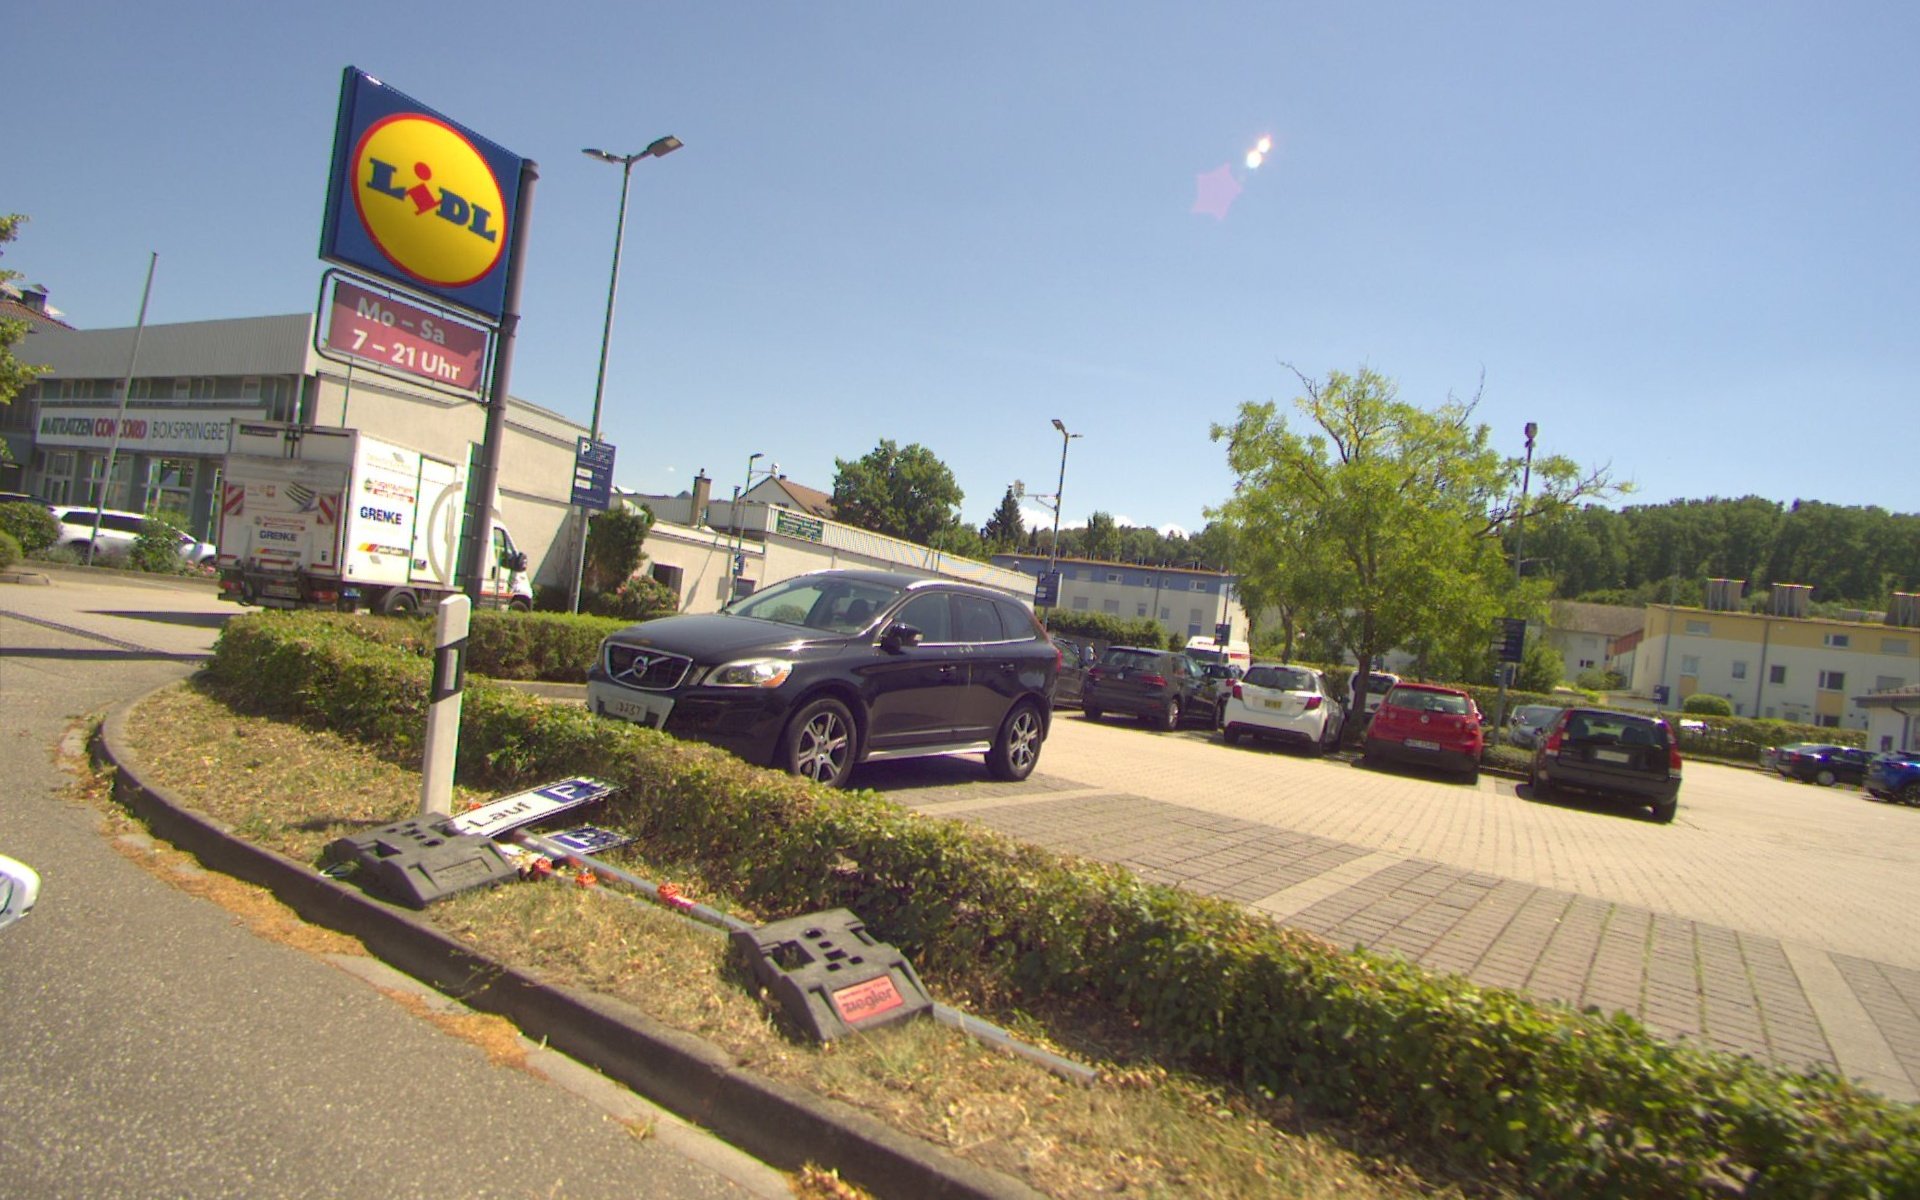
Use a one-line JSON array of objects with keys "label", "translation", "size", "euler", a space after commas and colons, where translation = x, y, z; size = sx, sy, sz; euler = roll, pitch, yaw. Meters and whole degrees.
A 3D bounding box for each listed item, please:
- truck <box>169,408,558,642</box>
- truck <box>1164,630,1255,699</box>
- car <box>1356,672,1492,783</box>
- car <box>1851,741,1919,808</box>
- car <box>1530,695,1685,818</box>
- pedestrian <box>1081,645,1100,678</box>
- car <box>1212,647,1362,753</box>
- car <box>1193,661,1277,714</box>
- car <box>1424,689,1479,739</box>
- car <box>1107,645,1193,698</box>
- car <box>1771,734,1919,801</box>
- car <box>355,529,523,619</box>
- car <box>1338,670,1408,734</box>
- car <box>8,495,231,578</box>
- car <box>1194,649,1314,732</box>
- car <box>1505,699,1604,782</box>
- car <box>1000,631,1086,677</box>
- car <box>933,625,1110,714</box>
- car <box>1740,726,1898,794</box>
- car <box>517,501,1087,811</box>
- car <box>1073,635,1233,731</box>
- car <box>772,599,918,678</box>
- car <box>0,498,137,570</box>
[{"label": "truck", "translation": [-9.594, -0.946, 17.112], "size": [2.377, 2.982, 5.960], "euler": [7, -2, 5]}, {"label": "truck", "translation": [10.869, 2.853, 43.489], "size": [2.143, 2.486, 5.480], "euler": [6, -2, 31]}, {"label": "car", "translation": [8.085, 2.147, 17.353], "size": [1.716, 1.474, 3.605], "euler": [7, -2, 30]}, {"label": "car", "translation": [27.573, 5.053, 27.751], "size": [3.929, 1.571, 1.999], "euler": [7, -1, 26]}, {"label": "car", "translation": [9.849, 2.317, 15.530], "size": [1.643, 1.433, 3.605], "euler": [7, -2, 30]}, {"label": "pedestrian", "translation": [7.271, 3.419, 55.890], "size": [0.668, 1.737, 0.706], "euler": [6, 0, 28]}, {"label": "car", "translation": [6.100, 1.832, 18.479], "size": [1.788, 1.521, 3.731], "euler": [7, -2, 30]}, {"label": "car", "translation": [9.876, 3.145, 35.942], "size": [1.721, 1.578, 3.756], "euler": [6, -1, 33]}, {"label": "car", "translation": [16.008, 3.660, 32.740], "size": [1.404, 1.337, 3.424], "euler": [6, -1, 27]}, {"label": "car", "translation": [7.135, 2.690, 37.549], "size": [1.625, 1.668, 3.866], "euler": [6, -1, 34]}, {"label": "car", "translation": [30.846, 5.780, 34.716], "size": [3.929, 1.592, 1.999], "euler": [6, -1, 26]}, {"label": "car", "translation": [-13.995, -0.696, 26.982], "size": [4.182, 1.913, 1.710], "euler": [6, -1, 26]}, {"label": "car", "translation": [14.068, 3.418, 34.146], "size": [1.745, 1.812, 3.997], "euler": [6, -1, 27]}, {"label": "car", "translation": [-20.950, -1.543, 25.191], "size": [1.780, 1.478, 3.982], "euler": [6, -1, 41]}, {"label": "car", "translation": [6.750, 2.065, 22.872], "size": [1.716, 1.521, 3.605], "euler": [7, -2, 30]}, {"label": "car", "translation": [12.647, 2.939, 21.506], "size": [1.557, 1.380, 3.208], "euler": [7, -1, 30]}, {"label": "car", "translation": [4.725, 3.089, 57.551], "size": [4.278, 2.038, 1.997], "euler": [6, -1, 30]}, {"label": "car", "translation": [1.370, 1.417, 20.279], "size": [1.868, 1.407, 4.253], "euler": [6, -2, 28]}, {"label": "car", "translation": [31.656, 5.863, 37.238], "size": [3.930, 1.704, 1.998], "euler": [7, -1, 27]}, {"label": "car", "translation": [-0.879, 0.473, 8.106], "size": [1.863, 1.687, 4.520], "euler": [7, -1, 33]}, {"label": "car", "translation": [3.879, 1.648, 19.657], "size": [1.699, 1.494, 4.027], "euler": [6, -2, 31]}, {"label": "car", "translation": [-2.735, 1.013, 24.851], "size": [1.622, 1.549, 4.001], "euler": [6, -2, 24]}, {"label": "car", "translation": [-27.216, -2.030, 29.428], "size": [1.974, 1.661, 4.571], "euler": [6, -1, 44]}]
